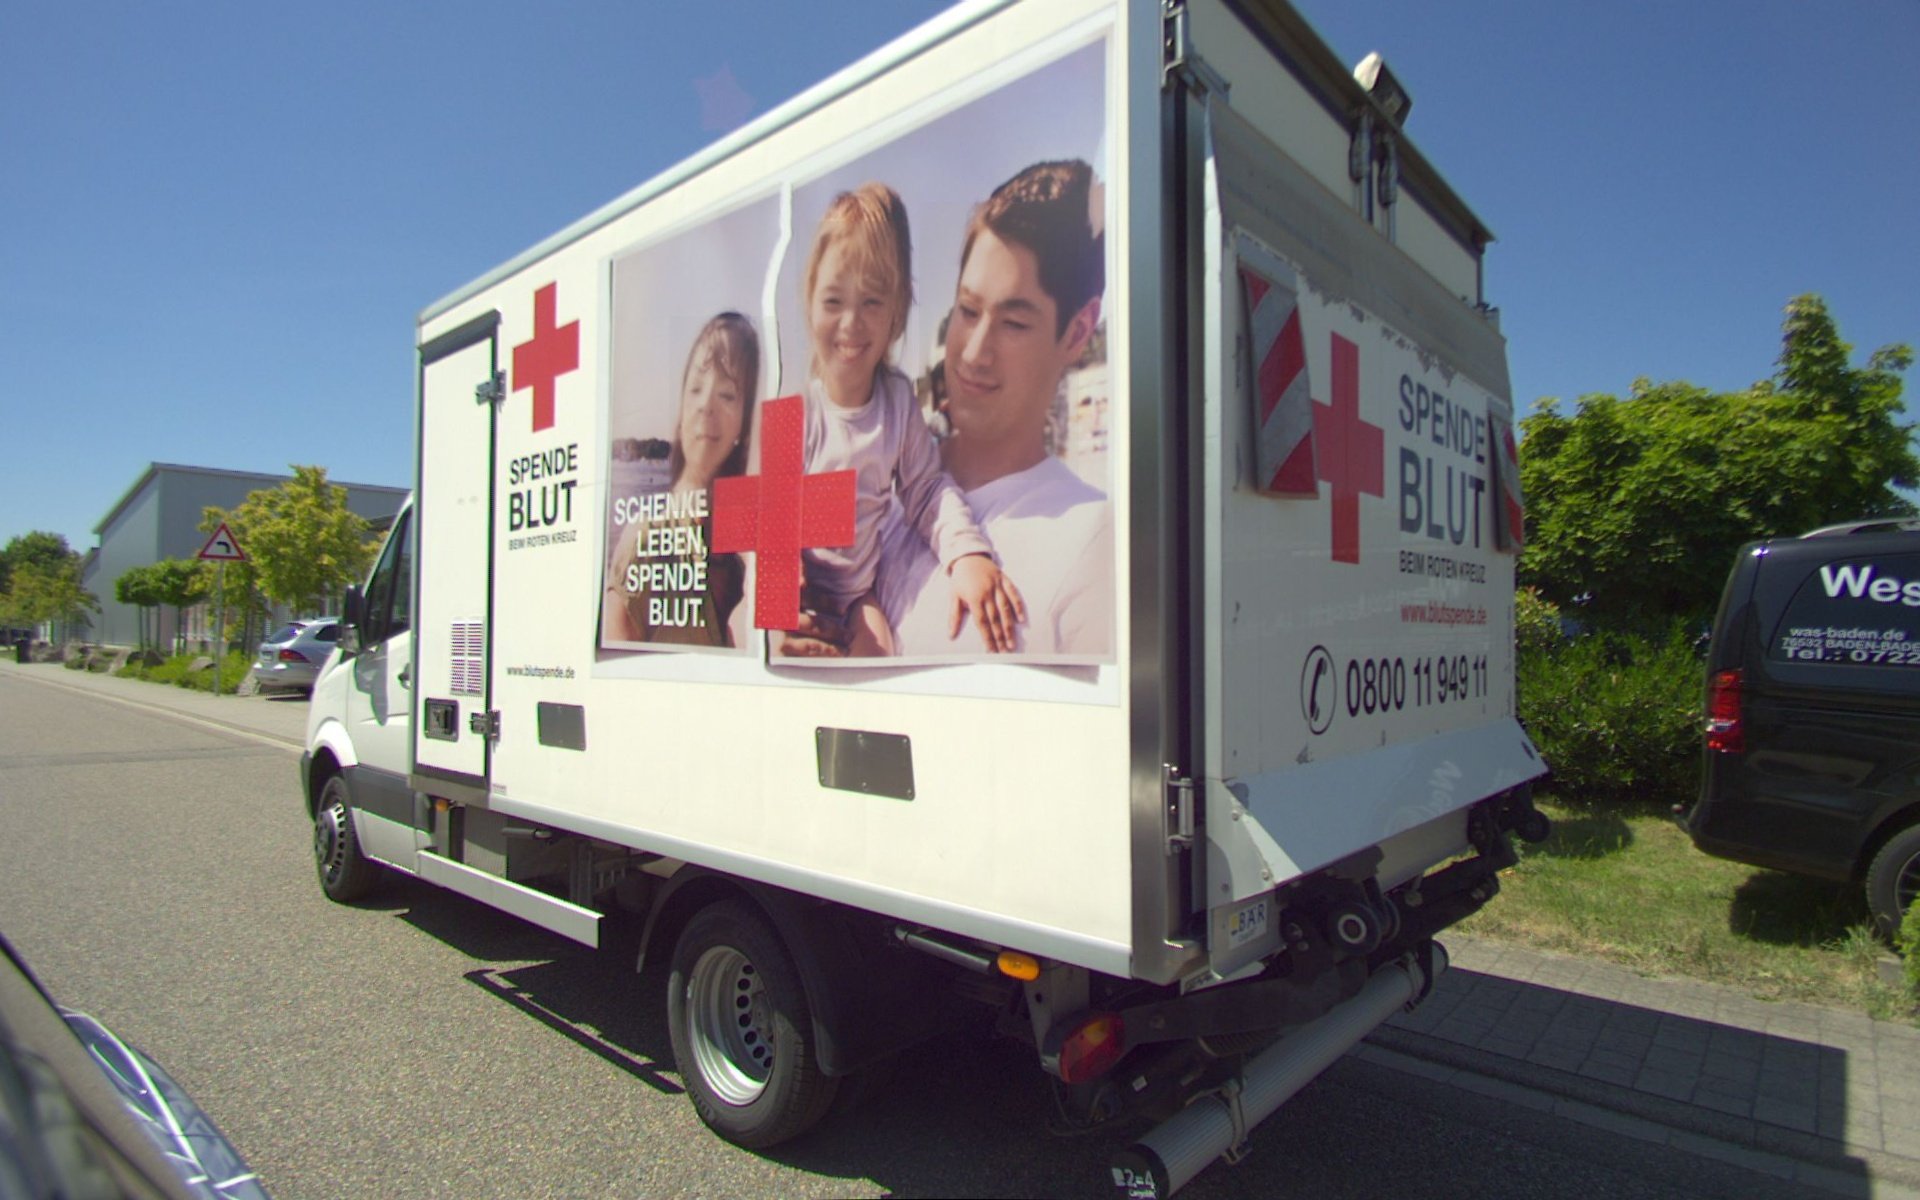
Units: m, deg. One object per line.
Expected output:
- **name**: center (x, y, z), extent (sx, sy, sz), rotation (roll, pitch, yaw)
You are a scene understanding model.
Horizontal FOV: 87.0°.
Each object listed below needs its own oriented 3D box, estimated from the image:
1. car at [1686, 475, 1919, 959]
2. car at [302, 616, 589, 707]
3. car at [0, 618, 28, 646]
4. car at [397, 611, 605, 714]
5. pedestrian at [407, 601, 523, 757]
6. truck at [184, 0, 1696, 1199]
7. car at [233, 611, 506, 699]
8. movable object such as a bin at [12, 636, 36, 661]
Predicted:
- **car**: center (5.936, 0.474, 3.663), extent (5.216, 1.971, 1.973), rotation (-1, -2, 41)
- **car**: center (-9.203, 1.045, 18.356), extent (1.846, 1.442, 4.262), rotation (-1, -2, 42)
- **car**: center (-60.843, 2.094, 62.839), extent (1.781, 1.671, 4.120), rotation (-1, 3, 41)
- **car**: center (-7.478, 0.971, 16.614), extent (1.534, 1.529, 2.713), rotation (-1, -2, 40)
- **pedestrian**: center (-5.347, 0.818, 10.940), extent (0.785, 1.586, 0.889), rotation (-2, -1, 42)
- **truck**: center (-0.986, 0.041, 4.263), extent (6.413, 2.882, 2.336), rotation (-1, -4, 42)
- **car**: center (-11.392, 1.020, 19.767), extent (1.865, 1.529, 4.218), rotation (-1, -2, 40)
- **movable object such as a bin**: center (-35.754, 1.848, 38.657), extent (0.511, 0.957, 0.565), rotation (-2, -2, 36)
